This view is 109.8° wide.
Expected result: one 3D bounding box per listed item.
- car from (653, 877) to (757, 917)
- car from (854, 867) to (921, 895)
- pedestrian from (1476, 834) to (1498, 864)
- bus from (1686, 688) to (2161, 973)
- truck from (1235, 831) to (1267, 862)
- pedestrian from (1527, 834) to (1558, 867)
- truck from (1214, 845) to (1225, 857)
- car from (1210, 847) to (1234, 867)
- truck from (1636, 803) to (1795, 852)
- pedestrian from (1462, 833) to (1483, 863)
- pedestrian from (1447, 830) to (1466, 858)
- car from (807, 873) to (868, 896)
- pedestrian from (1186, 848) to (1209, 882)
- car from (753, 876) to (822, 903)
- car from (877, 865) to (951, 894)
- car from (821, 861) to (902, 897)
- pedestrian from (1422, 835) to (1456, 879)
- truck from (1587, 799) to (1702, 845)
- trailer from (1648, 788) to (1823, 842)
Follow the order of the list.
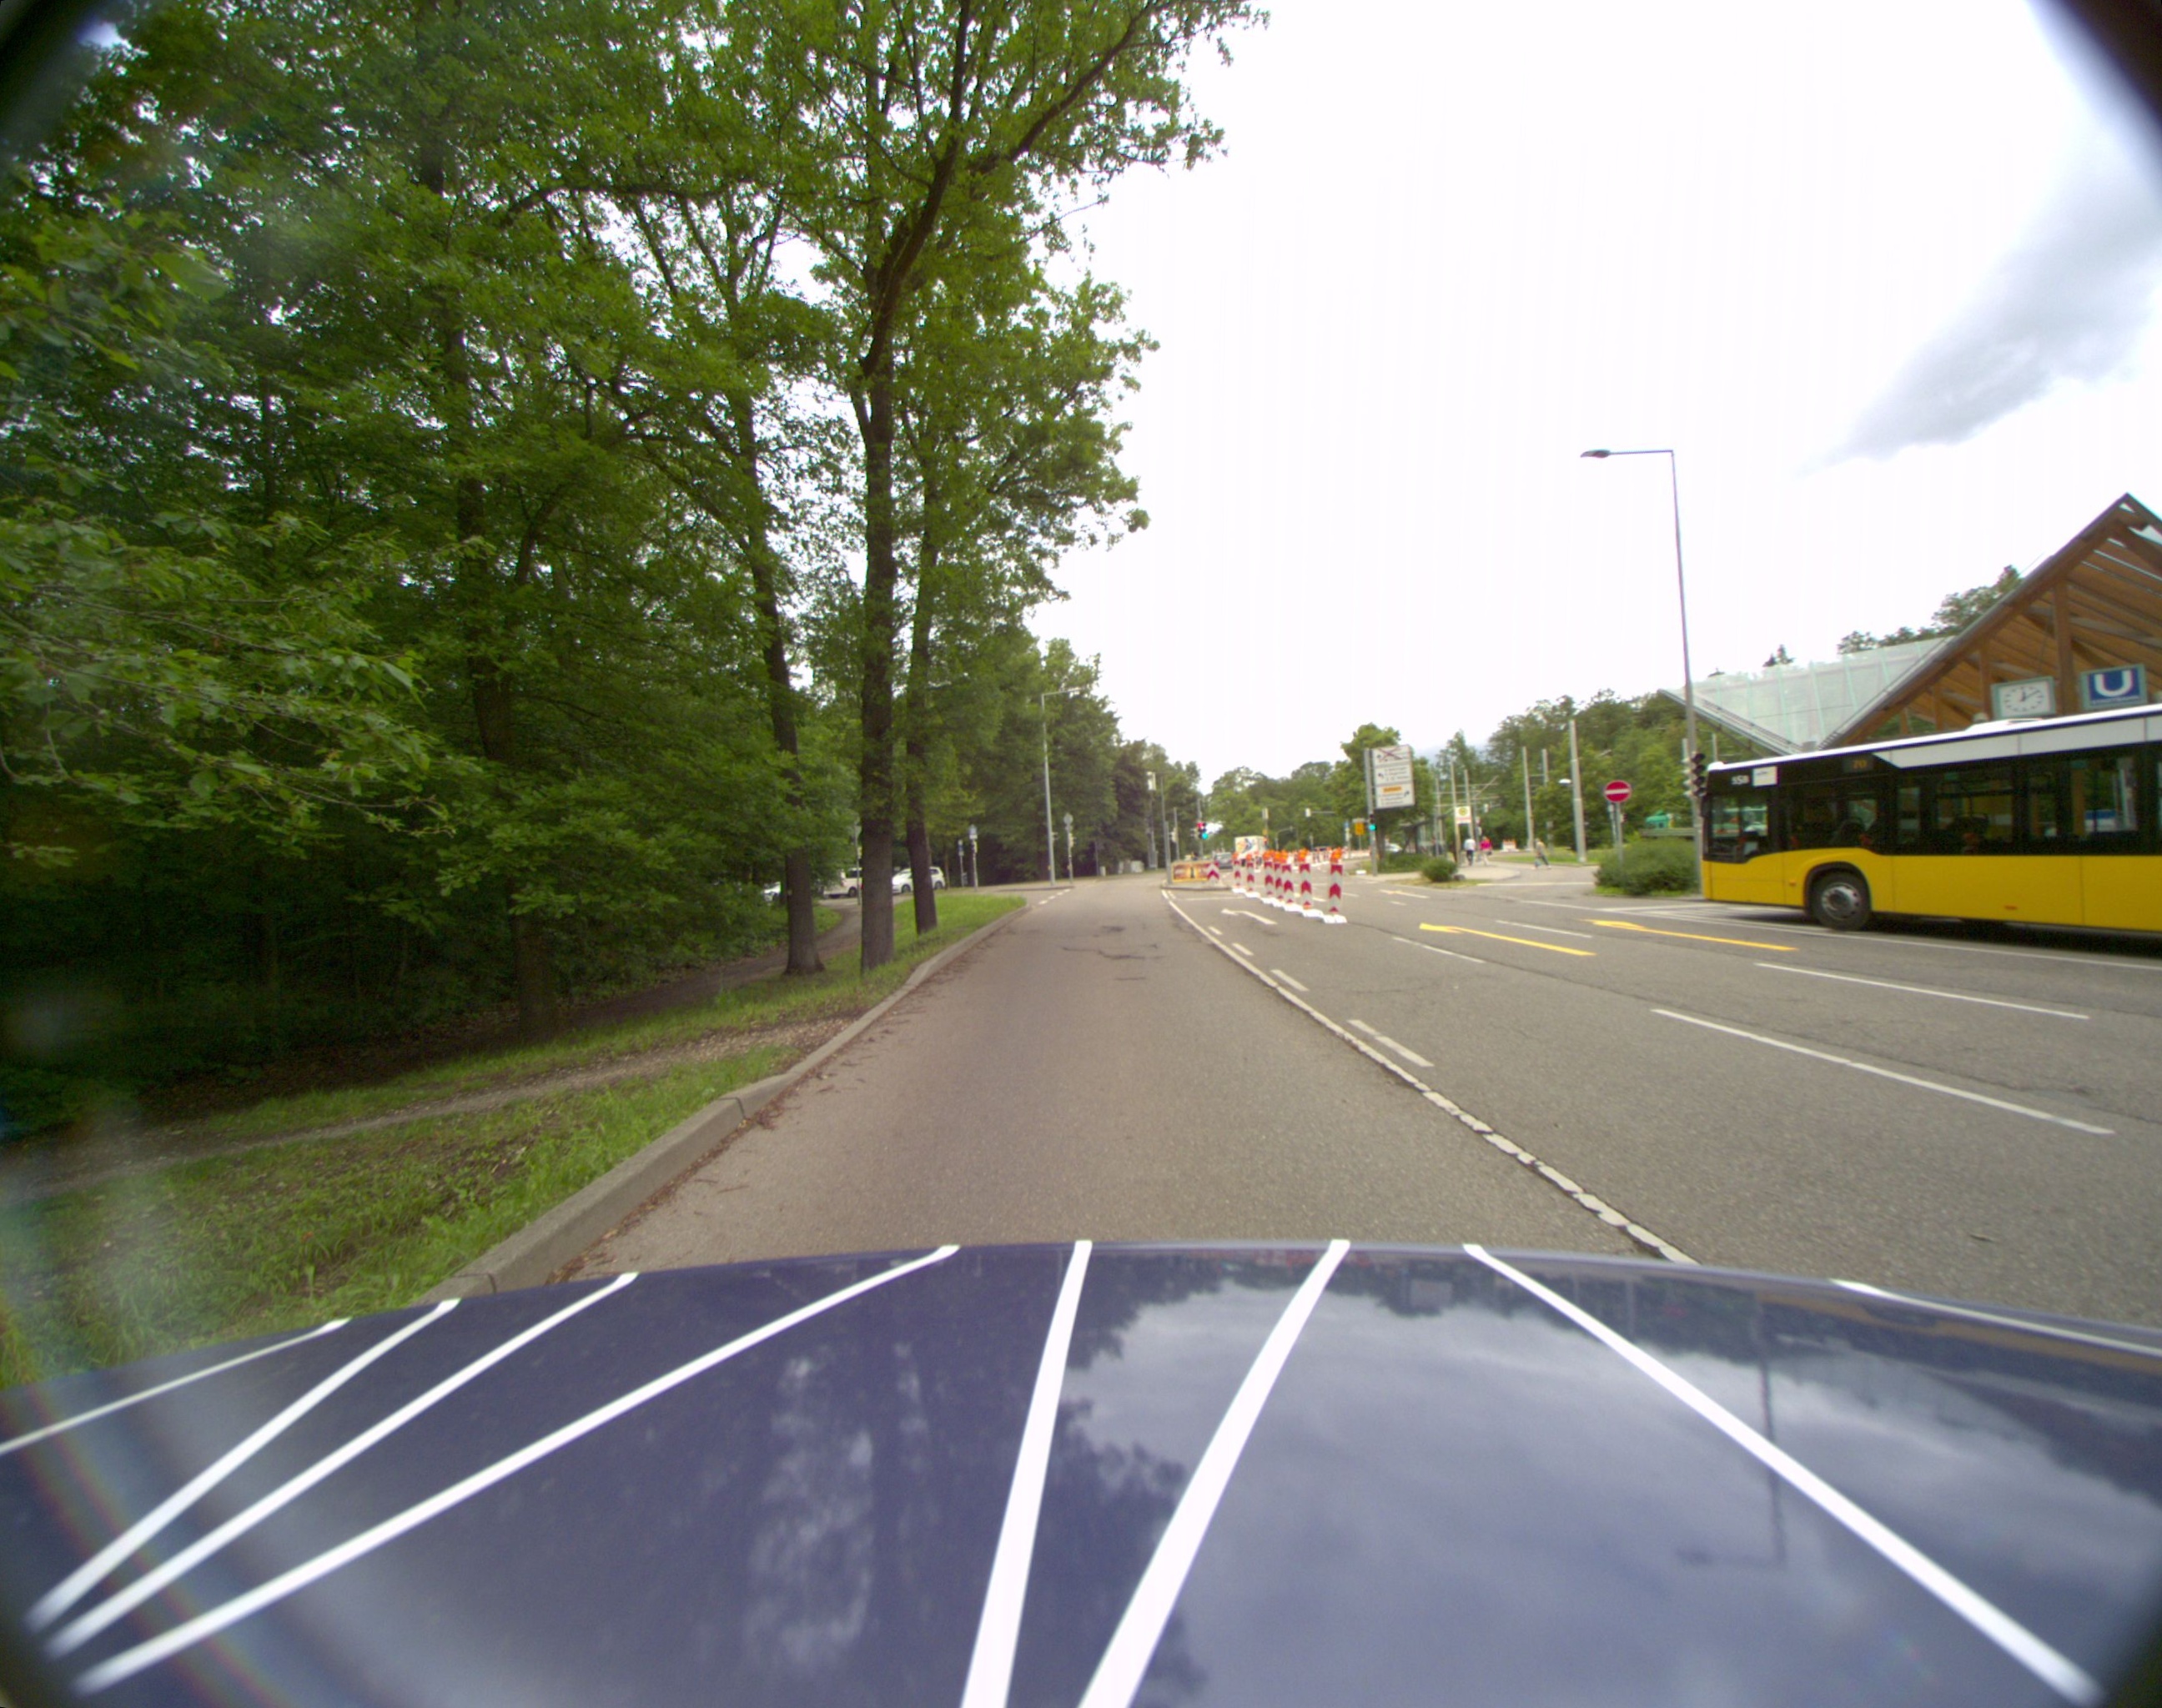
[{"bbox_3d":[-21.369,2.406,43.426,1.995,1.867,4.958,-5,-1,29],"label":"car"},{"bbox_3d":[-12.957,1.767,50.990,1.890,1.542,4.007,-5,-1,35],"label":"car"},{"bbox_3d":[22.022,-0.261,41.233,0.791,1.542,0.776,-5,0,11],"label":"pedestrian"},{"bbox_3d":[13.237,-0.309,9.882,2.906,3.108,9.759,-2,0,0],"label":"bus"},{"bbox_3d":[18.701,-0.802,83.320,2.632,3.219,6.215,-2,0,20],"label":"truck"},{"bbox_3d":[22.360,-0.144,36.824,0.768,1.516,0.875,-4,0,-14],"label":"pedestrian"},{"bbox_3d":[41.198,-0.813,225.951,2.744,3.192,6.680,-5,-1,13],"label":"truck"},{"bbox_3d":[11.751,0.209,63.385,1.811,1.500,4.310,-2,1,9],"label":"car"},{"bbox_3d":[35.232,-1.414,42.496,2.609,2.157,6.295,-4,-1,-18],"label":"truck"},{"bbox_3d":[22.118,-0.345,42.947,0.684,1.655,0.871,-4,0,8],"label":"pedestrian"},{"bbox_3d":[21.831,-0.580,44.154,0.775,1.537,0.629,-5,1,13],"label":"pedestrian"},{"bbox_3d":[-17.258,2.160,54.091,1.717,1.320,3.942,-5,-1,29],"label":"car"},{"bbox_3d":[6.132,0.572,39.893,1.092,1.666,0.912,-3,1,10],"label":"pedestrian"},{"bbox_3d":[-21.529,2.599,55.949,1.839,1.548,4.540,-5,-1,28],"label":"car"},{"bbox_3d":[-10.815,1.621,49.575,1.995,1.542,4.429,-5,-1,35],"label":"car"},{"bbox_3d":[-15.080,1.719,52.461,2.058,1.946,5.191,-5,1,31],"label":"car"},{"bbox_3d":[15.507,0.120,32.889,0.767,1.798,0.992,-4,0,-41],"label":"pedestrian"},{"bbox_3d":[57.672,-3.144,78.135,3.791,3.858,8.761,-4,-1,-18],"label":"truck"},{"bbox_3d":[60.160,-3.449,70.525,3.791,3.858,11.854,-4,-1,-18],"label":"trailer"}]
